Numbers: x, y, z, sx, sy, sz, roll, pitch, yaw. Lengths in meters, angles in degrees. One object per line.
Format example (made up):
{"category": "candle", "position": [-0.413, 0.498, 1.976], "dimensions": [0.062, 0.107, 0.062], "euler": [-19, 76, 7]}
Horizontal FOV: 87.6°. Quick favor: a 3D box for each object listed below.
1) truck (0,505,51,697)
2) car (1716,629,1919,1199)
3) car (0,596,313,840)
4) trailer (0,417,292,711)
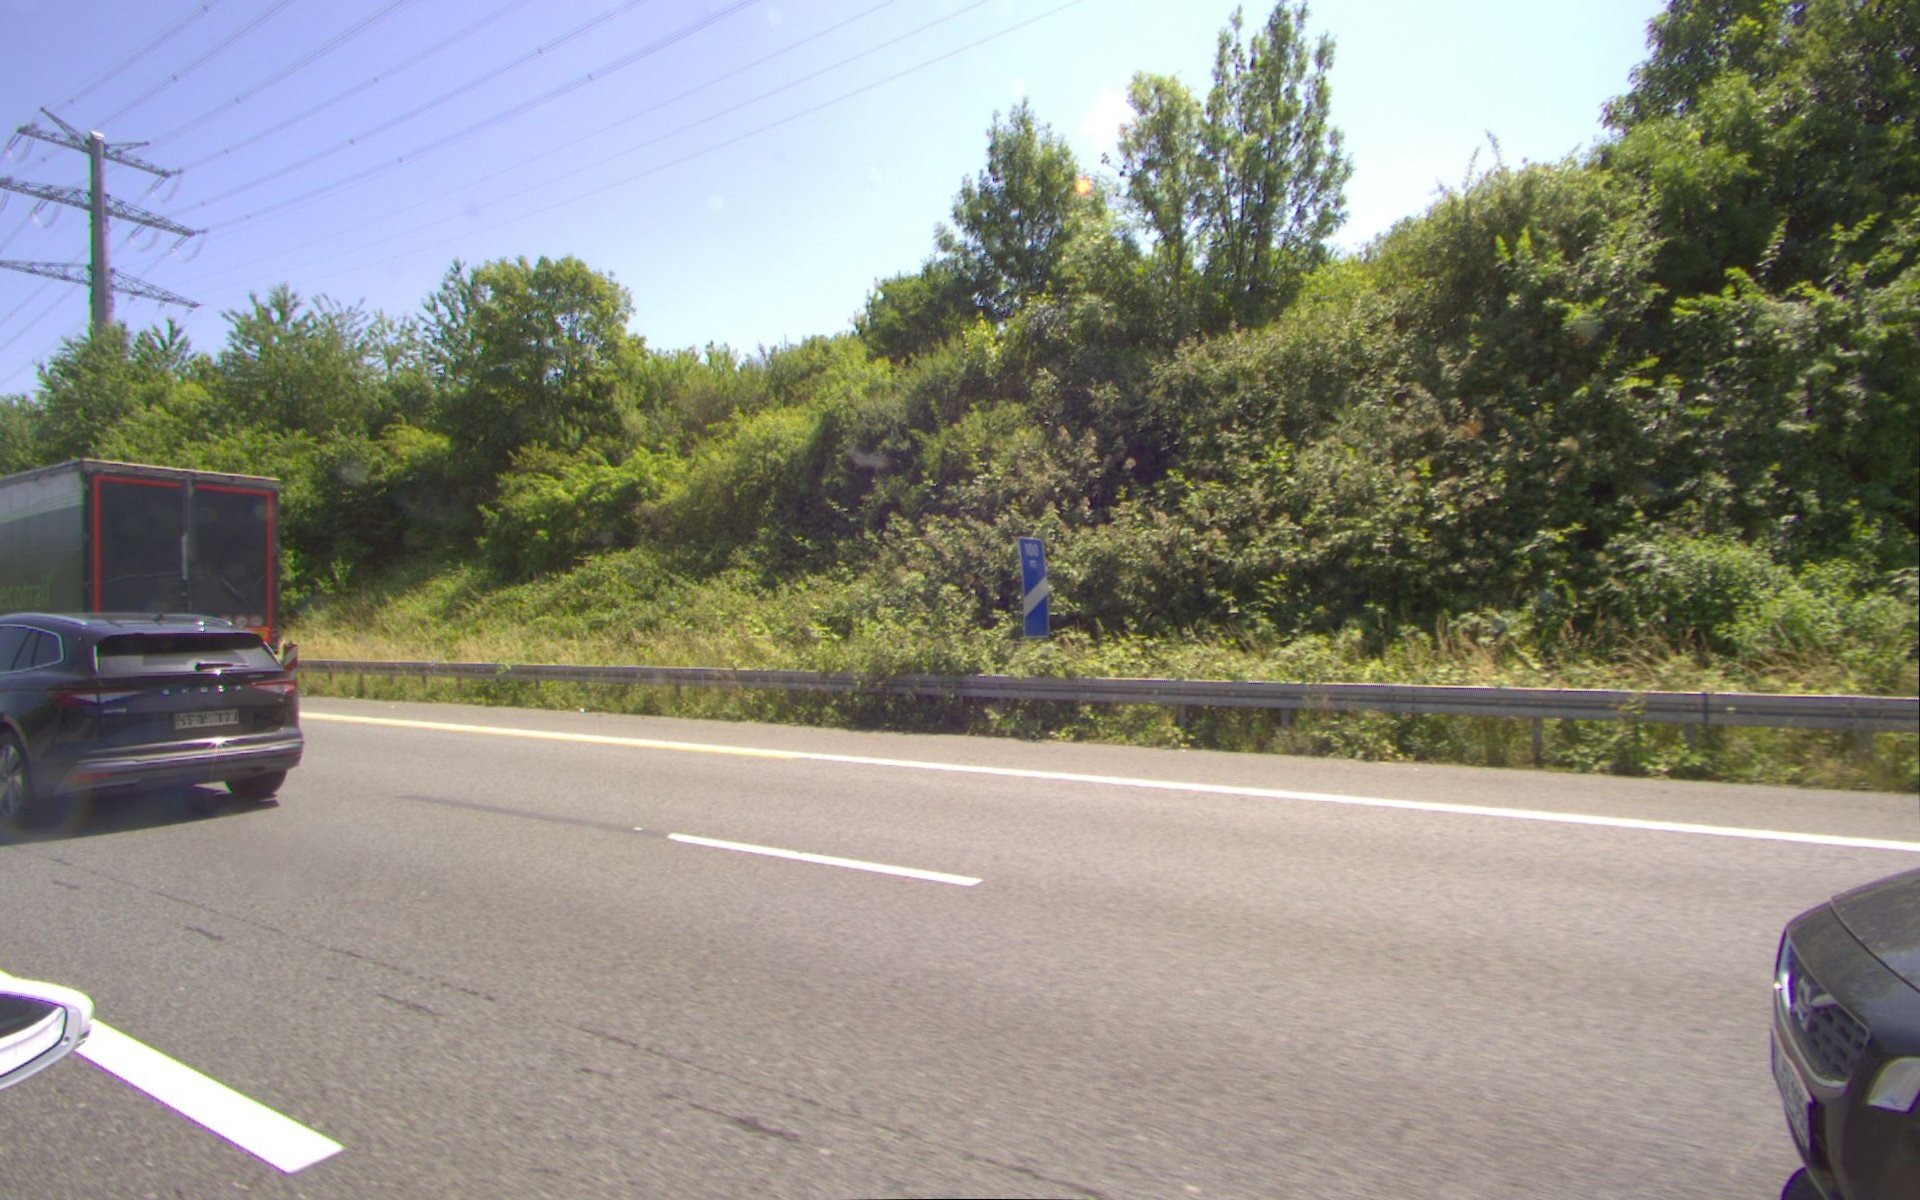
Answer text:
{"category": "truck", "position": [-23.194, 0.066, 22.349], "dimensions": [5.709, 4.098, 2.730], "euler": [-1, -2, 31]}
{"category": "car", "position": [3.811, 0.749, 1.206], "dimensions": [4.445, 1.437, 1.792], "euler": [-1, -2, 32]}
{"category": "car", "position": [-7.711, 0.881, 8.756], "dimensions": [4.365, 1.676, 1.699], "euler": [-1, -2, 31]}
{"category": "trailer", "position": [-17.121, -0.322, 18.570], "dimensions": [12.923, 4.098, 2.779], "euler": [-1, -2, 32]}
